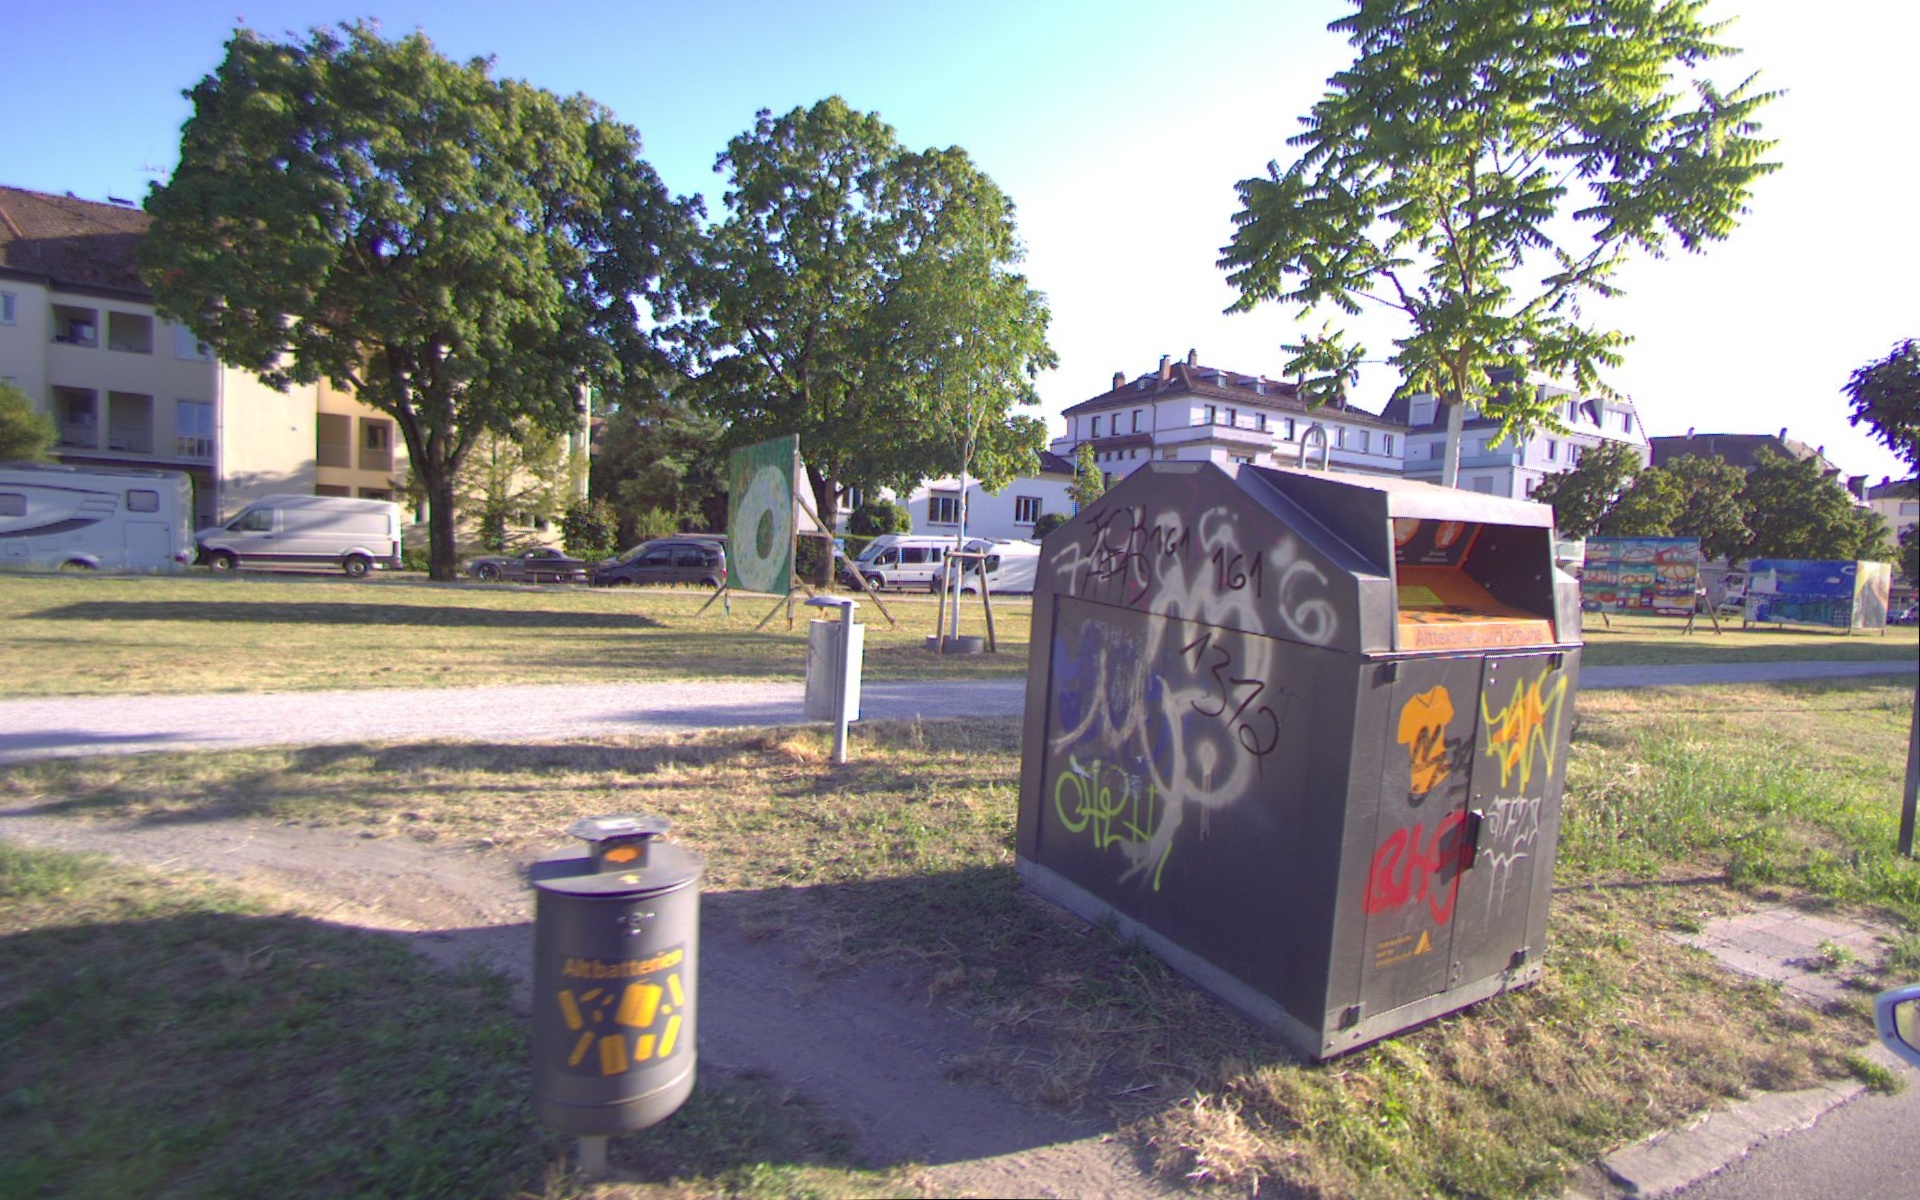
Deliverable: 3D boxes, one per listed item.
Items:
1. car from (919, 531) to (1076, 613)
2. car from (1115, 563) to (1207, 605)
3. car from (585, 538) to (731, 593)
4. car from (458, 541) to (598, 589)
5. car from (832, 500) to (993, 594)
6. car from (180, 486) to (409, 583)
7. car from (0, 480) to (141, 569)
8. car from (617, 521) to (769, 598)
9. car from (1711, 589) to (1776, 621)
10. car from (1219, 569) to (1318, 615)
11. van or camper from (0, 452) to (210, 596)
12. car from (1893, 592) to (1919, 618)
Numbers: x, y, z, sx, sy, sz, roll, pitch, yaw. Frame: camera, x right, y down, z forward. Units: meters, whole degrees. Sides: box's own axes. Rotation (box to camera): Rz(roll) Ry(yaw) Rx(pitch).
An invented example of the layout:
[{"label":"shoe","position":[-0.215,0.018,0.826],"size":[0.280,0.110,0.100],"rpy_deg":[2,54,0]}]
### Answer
[{"label":"car","position":[1.504,-1.008,39.289],"size":[5.802,2.863,2.250],"rpy_deg":[2,-1,-30]},{"label":"car","position":[10.347,-0.778,51.528],"size":[4.660,1.879,1.721],"rpy_deg":[2,-1,-31]},{"label":"car","position":[-9.648,-1.092,32.223],"size":[4.261,1.585,1.406],"rpy_deg":[1,3,-32]},{"label":"car","position":[-15.551,-1.211,36.199],"size":[4.503,1.421,1.987],"rpy_deg":[2,-1,-27]},{"label":"car","position":[-2.030,-2.191,43.842],"size":[6.686,3.606,2.292],"rpy_deg":[2,-1,-30]},{"label":"car","position":[-21.557,-2.029,32.918],"size":[6.020,2.632,1.984],"rpy_deg":[2,-1,-31]},{"label":"car","position":[-22.858,-1.864,24.660],"size":[3.952,2.041,1.984],"rpy_deg":[1,3,-30]},{"label":"car","position":[-10.342,-1.489,39.063],"size":[5.268,2.638,2.124],"rpy_deg":[2,-1,-32]},{"label":"car","position":[56.103,0.357,71.926],"size":[4.993,2.084,1.984],"rpy_deg":[2,-1,-30]},{"label":"car","position":[14.617,-0.337,47.466],"size":[4.587,1.924,1.825],"rpy_deg":[2,-1,-30]},{"label":"van or camper","position":[-22.858,-1.864,24.660],"size":[6.822,3.307,2.629],"rpy_deg":[1,3,-30]},{"label":"car","position":[109.674,0.692,113.207],"size":[6.202,2.757,1.998],"rpy_deg":[4,3,30]}]
